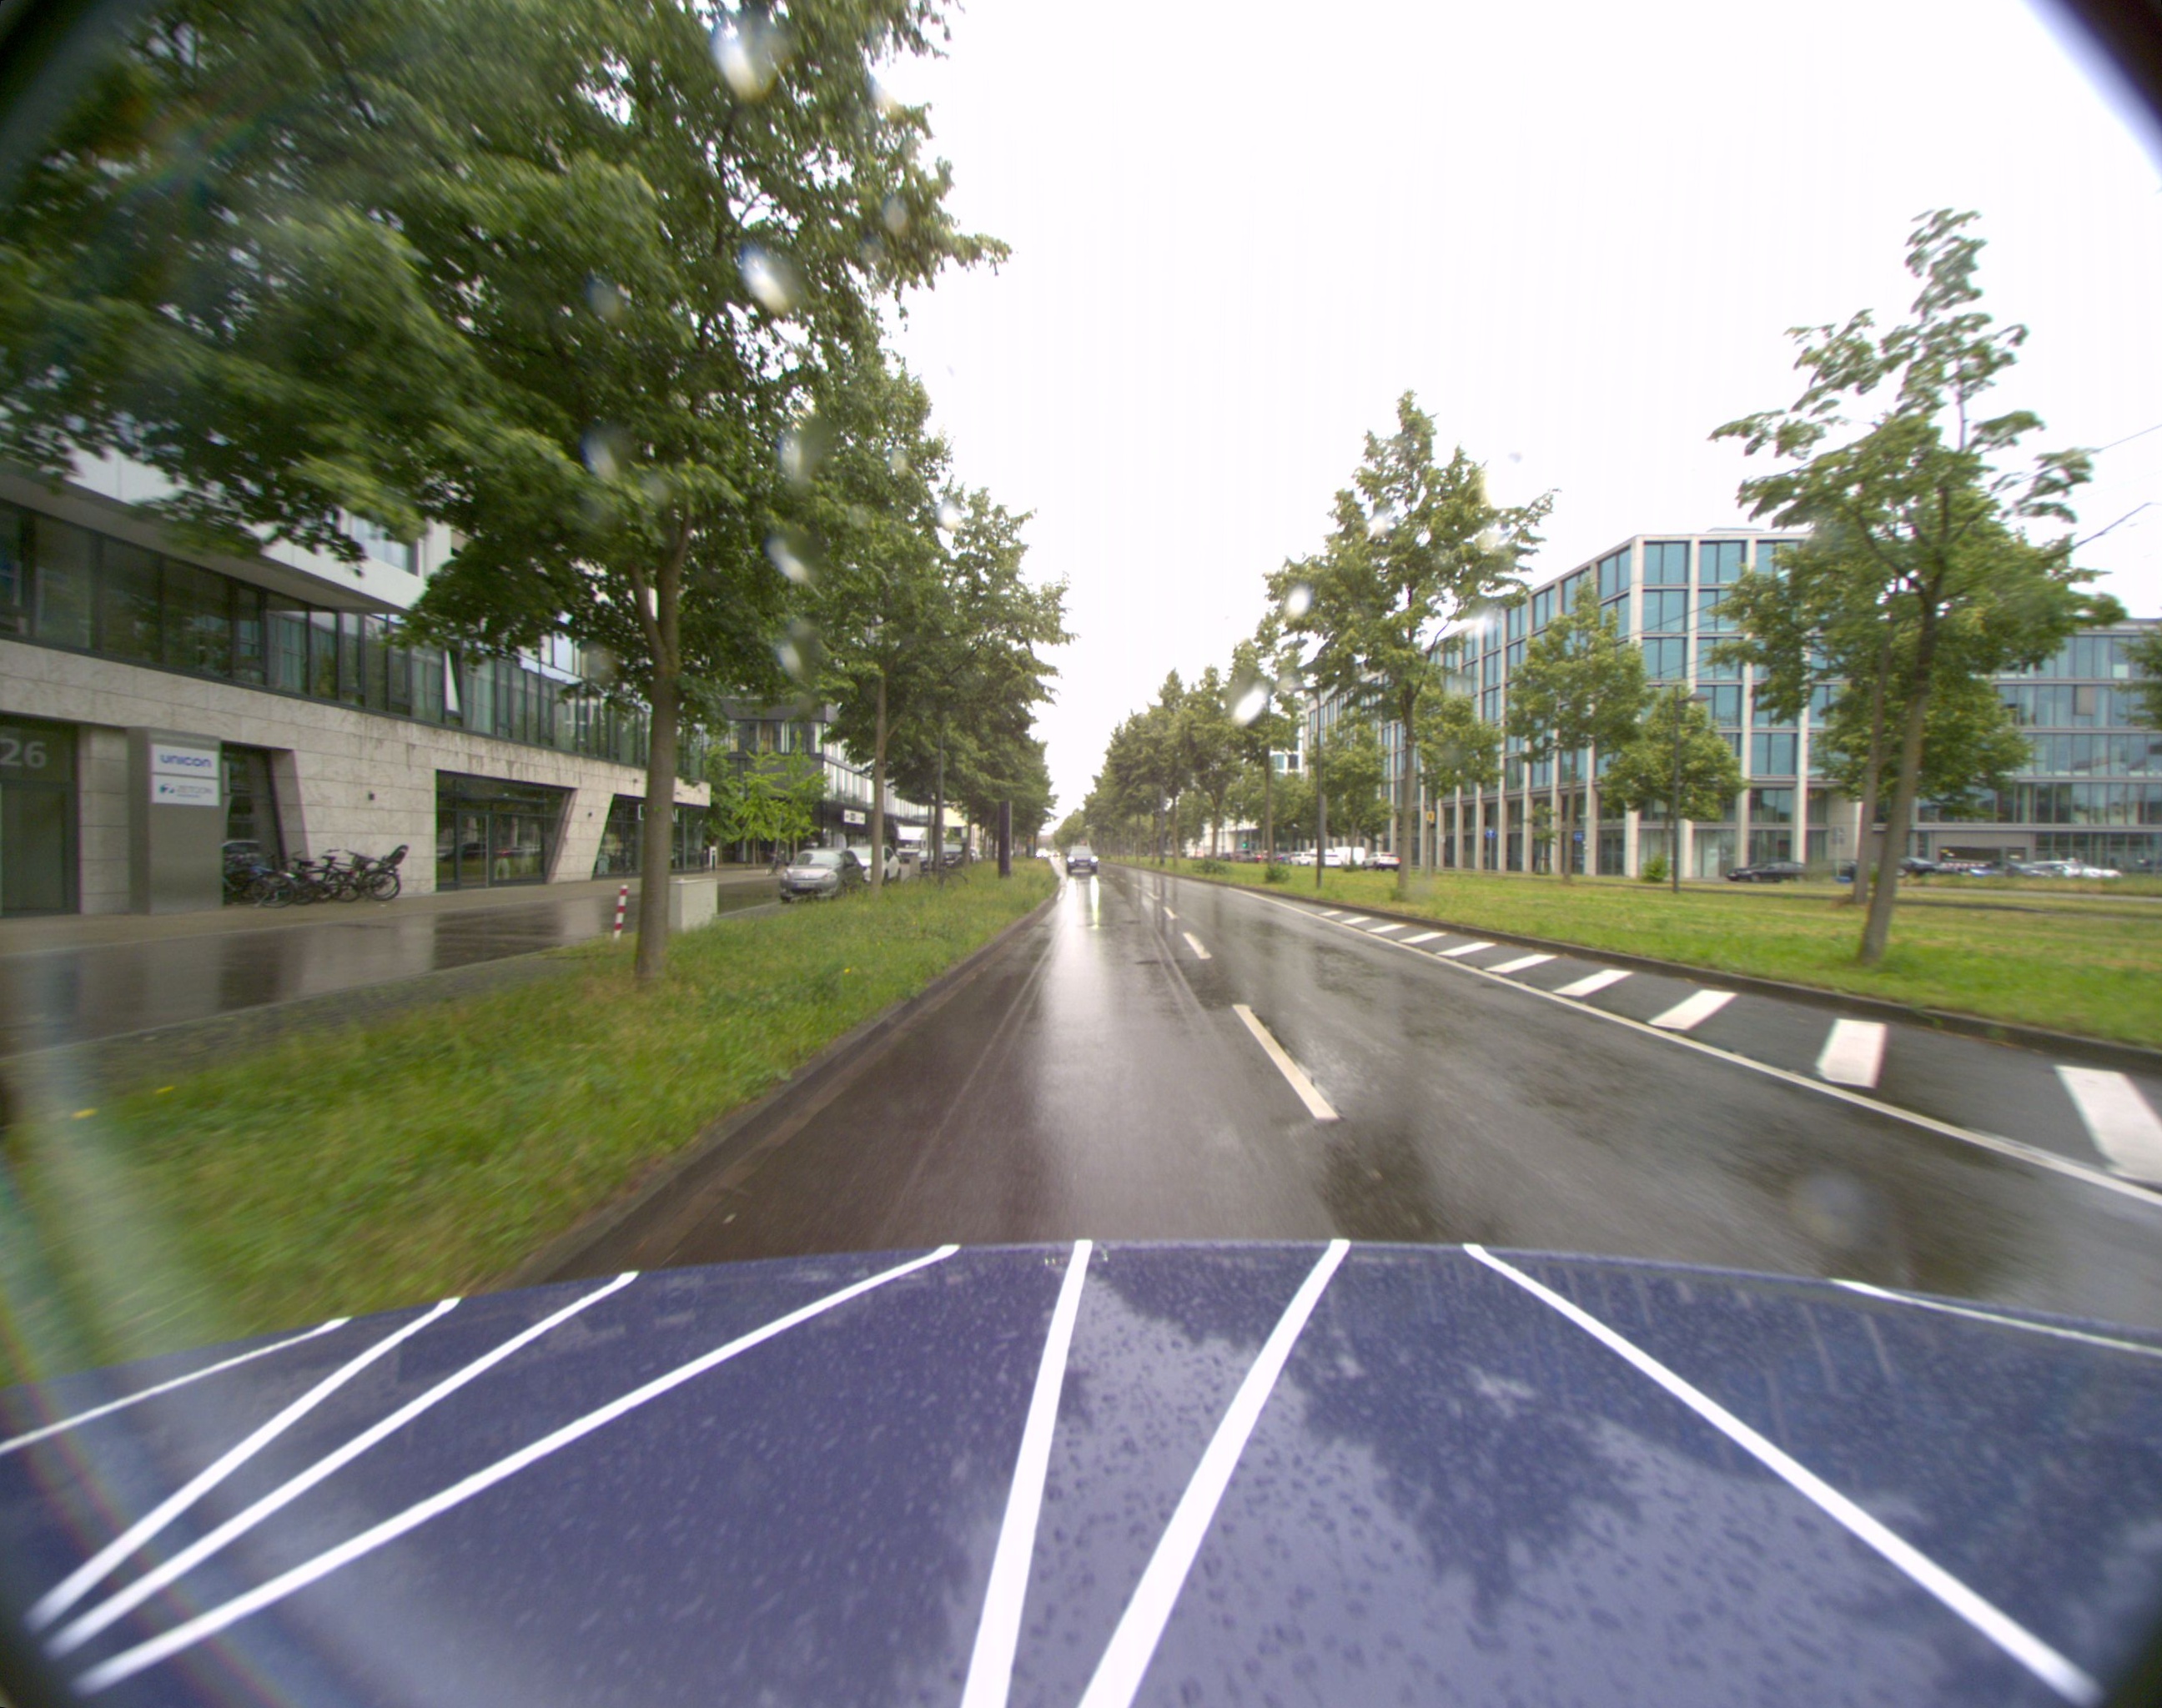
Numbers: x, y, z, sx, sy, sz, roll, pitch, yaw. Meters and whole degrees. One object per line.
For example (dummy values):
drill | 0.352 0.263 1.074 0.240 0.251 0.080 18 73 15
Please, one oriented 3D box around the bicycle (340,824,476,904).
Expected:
bicycle | -16.127 0.229 18.235 2.686 1.850 0.707 1 1 2

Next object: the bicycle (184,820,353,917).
bicycle | -16.167 0.284 15.148 2.686 1.850 0.707 1 1 2

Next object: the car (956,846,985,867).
car | -9.461 0.218 65.175 1.999 1.659 4.722 -1 0 -3

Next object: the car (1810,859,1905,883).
car | 42.211 0.962 41.429 1.504 1.232 3.661 1 -2 1

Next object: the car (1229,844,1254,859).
car | 20.513 -0.259 97.237 1.956 1.837 4.542 1 -1 -3

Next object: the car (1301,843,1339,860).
car | 24.810 -0.244 78.998 1.956 1.641 5.029 1 -2 -5

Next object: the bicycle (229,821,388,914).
bicycle | -16.135 0.276 15.895 2.686 1.850 0.707 1 1 2

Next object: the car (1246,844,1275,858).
car | 20.893 -0.342 88.636 1.956 1.377 4.604 1 -2 -3

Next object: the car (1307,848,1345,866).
car | 21.928 0.317 68.131 1.955 1.452 4.833 1 -2 1

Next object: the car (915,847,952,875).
car | -8.586 0.374 44.572 1.963 1.504 4.478 1 1 -9

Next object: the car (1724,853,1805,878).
car | 46.051 0.797 51.243 3.798 1.599 1.745 1 -1 1

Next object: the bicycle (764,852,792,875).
bicycle | -14.978 0.449 37.612 0.519 1.124 2.064 1 0 0

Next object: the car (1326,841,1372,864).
car | 25.025 -0.090 71.241 2.274 1.994 5.373 1 -2 -1

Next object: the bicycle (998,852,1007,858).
bicycle | -11.891 0.122 115.059 1.458 0.911 0.434 0 -2 30

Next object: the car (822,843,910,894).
car | -7.663 0.550 27.552 1.999 1.659 4.724 1 -2 -2

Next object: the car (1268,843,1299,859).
car | 21.627 -0.305 81.172 1.956 1.485 3.961 1 -2 -5

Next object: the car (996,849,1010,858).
car | -12.565 -0.119 122.525 1.999 1.446 4.958 1 0 -2

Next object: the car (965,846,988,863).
car | -9.809 0.099 71.470 1.775 1.443 4.722 -3 -1 -5

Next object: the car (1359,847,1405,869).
car | 24.960 0.305 63.181 1.955 1.739 4.575 0 0 0

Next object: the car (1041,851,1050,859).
car | -7.453 0.125 159.097 1.687 1.520 3.968 1 -2 -4

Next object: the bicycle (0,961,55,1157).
bicycle | -4.803 0.862 2.458 0.343 0.817 1.903 1 -2 1

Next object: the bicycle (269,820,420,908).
bicycle | -16.146 0.222 16.687 2.686 1.850 0.707 1 1 2

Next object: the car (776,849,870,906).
car | -7.307 0.635 21.833 1.630 1.482 3.654 1 -1 -3

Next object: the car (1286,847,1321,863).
car | 21.765 0.068 74.504 1.956 1.504 4.574 0 0 -3

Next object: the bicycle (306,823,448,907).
bicycle | -16.158 0.244 17.469 2.686 1.850 0.707 1 1 2

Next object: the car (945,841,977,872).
car | -8.058 0.234 51.143 2.000 1.940 5.026 1 -2 -9

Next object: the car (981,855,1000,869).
car | -10.130 0.865 85.723 1.999 1.436 5.234 0 0 -5

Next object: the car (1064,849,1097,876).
car | -0.096 0.508 48.725 1.928 1.651 4.714 1 0 -2

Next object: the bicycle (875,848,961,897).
bicycle | -4.044 0.460 18.927 2.041 1.190 0.491 1 1 -3

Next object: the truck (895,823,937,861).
truck | -16.072 -1.146 74.470 3.033 3.421 8.542 0 0 -5

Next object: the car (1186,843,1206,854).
car | 16.915 -0.816 111.847 1.956 1.444 4.574 0 0 -3
